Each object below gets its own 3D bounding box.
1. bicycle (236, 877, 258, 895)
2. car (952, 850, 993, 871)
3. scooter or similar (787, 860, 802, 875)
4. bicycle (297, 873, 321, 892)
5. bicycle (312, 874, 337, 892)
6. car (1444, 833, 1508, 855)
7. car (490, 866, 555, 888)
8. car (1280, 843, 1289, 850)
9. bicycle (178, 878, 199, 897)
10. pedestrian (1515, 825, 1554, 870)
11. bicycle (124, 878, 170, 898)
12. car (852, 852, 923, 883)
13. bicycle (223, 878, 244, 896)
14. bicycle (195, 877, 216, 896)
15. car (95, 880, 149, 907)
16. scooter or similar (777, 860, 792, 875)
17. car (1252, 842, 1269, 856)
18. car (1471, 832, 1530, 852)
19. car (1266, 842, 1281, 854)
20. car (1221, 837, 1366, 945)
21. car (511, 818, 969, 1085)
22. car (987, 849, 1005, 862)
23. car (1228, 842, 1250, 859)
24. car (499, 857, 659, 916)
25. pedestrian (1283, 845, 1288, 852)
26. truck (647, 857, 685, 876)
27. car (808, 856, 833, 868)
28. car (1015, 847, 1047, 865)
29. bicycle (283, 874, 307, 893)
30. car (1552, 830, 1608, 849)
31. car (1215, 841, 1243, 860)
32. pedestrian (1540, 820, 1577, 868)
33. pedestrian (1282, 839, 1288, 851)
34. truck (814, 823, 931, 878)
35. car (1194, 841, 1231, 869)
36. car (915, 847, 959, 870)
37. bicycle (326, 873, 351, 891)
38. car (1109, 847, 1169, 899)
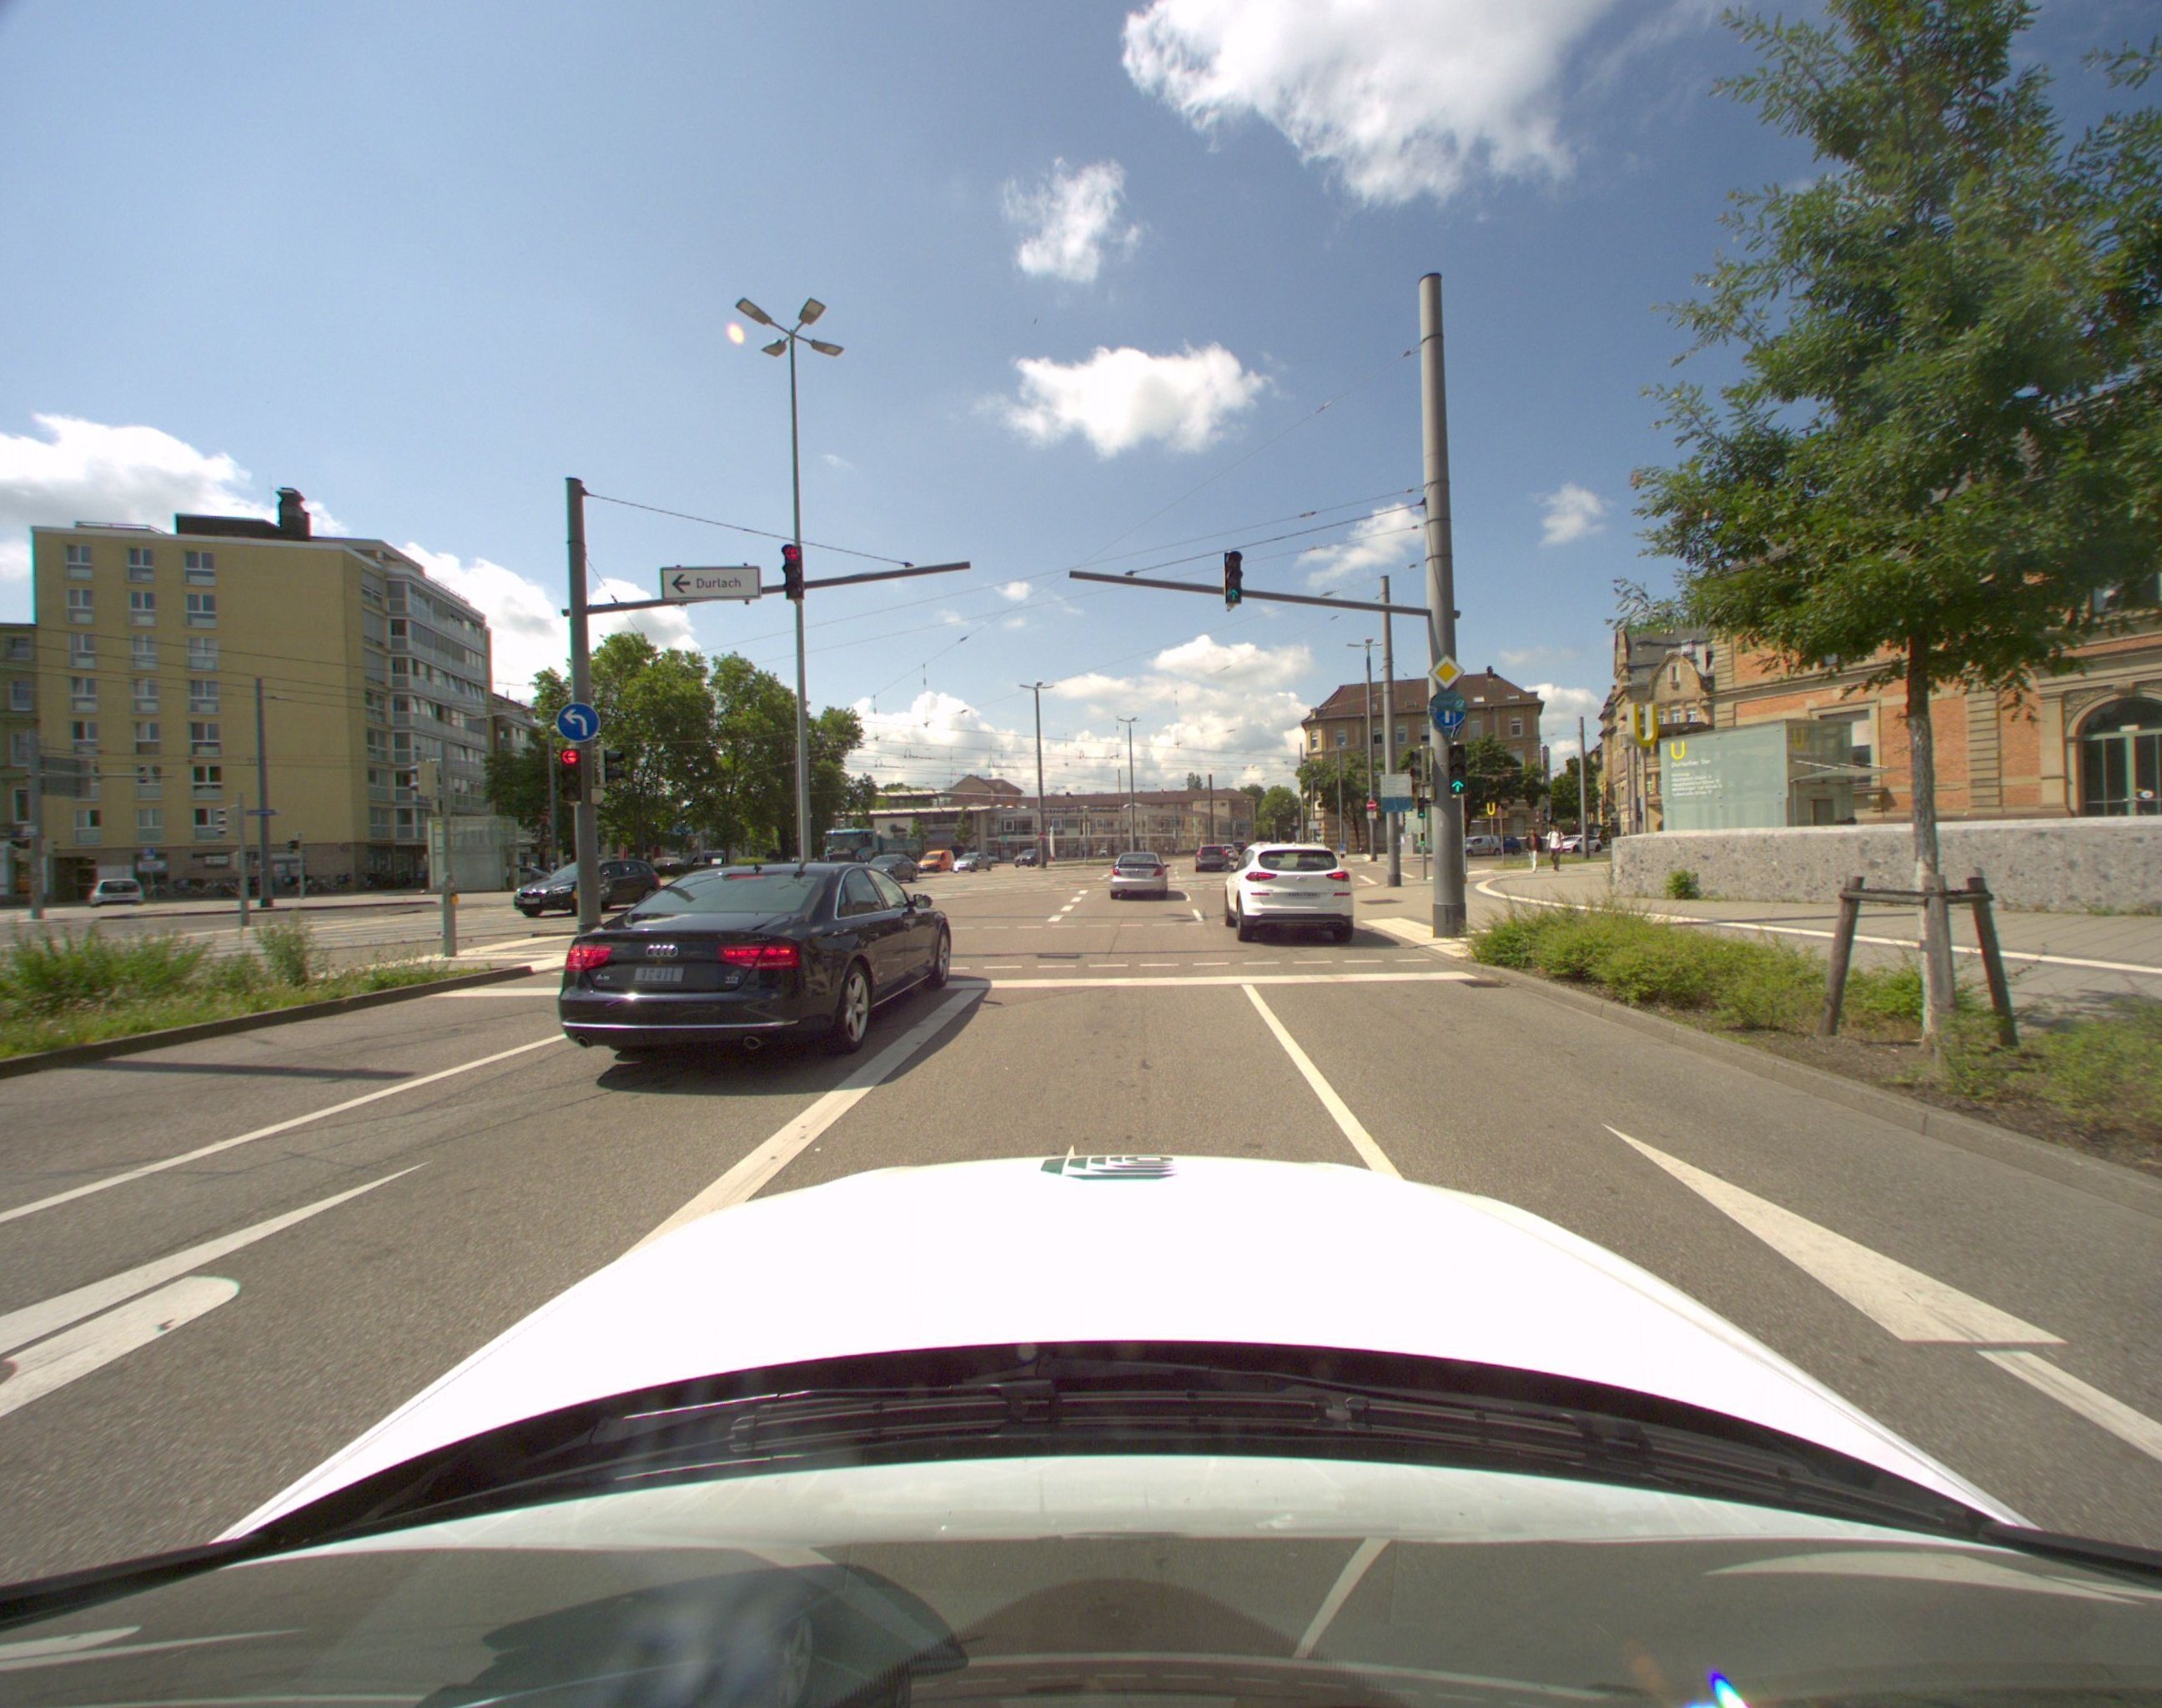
[{"bbox_3d":[-52.754,2.027,51.512,2.107,1.147,0.515,-1,-1,32],"label":"bicycle"},{"bbox_3d":[-8.189,0.458,61.806,1.642,1.433,4.287,-2,0,13],"label":"car"},{"bbox_3d":[-20.686,0.986,58.854,0.374,1.115,1.101,-1,-1,21],"label":"scooter or similar"},{"bbox_3d":[-49.611,1.835,52.338,2.107,1.147,0.515,-1,-1,29],"label":"bicycle"},{"bbox_3d":[-48.969,1.873,52.724,2.107,1.147,0.537,-1,-1,29],"label":"bicycle"},{"bbox_3d":[28.657,-0.743,59.095,4.138,1.473,1.713,-2,0,-18],"label":"car"},{"bbox_3d":[-47.374,1.937,69.132,4.103,1.858,1.975,0,-1,-14],"label":"car"},{"bbox_3d":[50.561,-1.974,202.591,1.866,1.693,3.975,-1,0,17],"label":"car"},{"bbox_3d":[-55.343,2.064,50.489,2.107,1.147,0.515,-1,-1,32],"label":"bicycle"},{"bbox_3d":[17.739,-0.244,31.853,0.970,1.657,0.855,-3,-1,-31],"label":"pedestrian"},{"bbox_3d":[-57.722,2.098,50.333,1.940,1.147,0.525,-1,-1,-10],"label":"bicycle"},{"bbox_3d":[-9.579,0.627,40.791,1.643,1.391,4.789,-2,0,10],"label":"car"},{"bbox_3d":[-53.269,2.059,51.176,2.107,1.147,0.515,-1,-1,32],"label":"bicycle"},{"bbox_3d":[-54.646,2.044,50.832,2.107,1.147,0.515,-1,-1,32],"label":"bicycle"},{"bbox_3d":[-51.439,2.111,43.670,3.313,1.321,1.669,-2,0,37],"label":"car"},{"bbox_3d":[-21.509,0.979,59.020,0.374,1.115,1.101,-1,-1,21],"label":"scooter or similar"},{"bbox_3d":[23.618,-0.675,107.137,1.866,1.641,3.975,-1,0,17],"label":"car"},{"bbox_3d":[32.891,-0.946,63.854,4.138,1.473,1.713,-2,0,-18],"label":"car"},{"bbox_3d":[28.532,-0.886,120.742,1.866,1.641,3.975,-1,0,18],"label":"car"},{"bbox_3d":[3.649,0.556,14.729,1.872,1.641,4.239,-2,0,6],"label":"car"},{"bbox_3d":[-2.496,0.599,7.532,1.920,1.641,4.797,-2,0,3],"label":"car"},{"bbox_3d":[-11.181,0.209,107.687,1.987,1.574,3.998,-1,-1,-1],"label":"car"},{"bbox_3d":[16.954,-0.398,87.062,1.866,1.641,3.975,-1,0,17],"label":"car"},{"bbox_3d":[-14.392,0.871,23.660,1.644,1.469,4.162,-2,0,7],"label":"car"},{"bbox_3d":[25.665,-0.699,102.349,0.520,0.906,1.568,-1,-1,17],"label":"pedestrian"},{"bbox_3d":[-50.461,1.503,99.121,1.794,2.120,4.788,-2,0,7],"label":"truck"},{"bbox_3d":[-34.515,1.112,108.036,1.987,1.574,4.176,-1,-1,-1],"label":"car"},{"bbox_3d":[-4.417,0.165,72.614,1.706,1.531,4.136,-2,0,13],"label":"car"},{"bbox_3d":[-50.148,1.874,51.941,2.107,1.147,0.515,-1,-1,29],"label":"bicycle"},{"bbox_3d":[41.414,-1.214,67.625,4.138,1.473,1.713,-2,0,-18],"label":"car"},{"bbox_3d":[13.167,-0.312,72.130,1.866,1.641,3.975,-1,0,18],"label":"car"},{"bbox_3d":[18.241,-0.366,31.134,0.760,1.751,0.855,-3,-1,-31],"label":"pedestrian"},{"bbox_3d":[25.656,-1.083,102.425,0.687,1.457,0.683,-1,-1,17],"label":"pedestrian"},{"bbox_3d":[-11.905,-0.239,47.590,2.866,2.852,8.822,-2,0,12],"label":"truck"},{"bbox_3d":[7.167,0.041,44.125,1.869,1.419,3.969,-2,0,11],"label":"car"},{"bbox_3d":[-11.842,0.337,67.273,1.705,1.800,4.760,-3,0,15],"label":"car"},{"bbox_3d":[-48.478,1.850,53.164,2.107,1.147,0.515,-1,-1,29],"label":"bicycle"},{"bbox_3d":[1.904,0.520,25.626,1.732,1.391,4.187,0,2,6],"label":"car"}]
